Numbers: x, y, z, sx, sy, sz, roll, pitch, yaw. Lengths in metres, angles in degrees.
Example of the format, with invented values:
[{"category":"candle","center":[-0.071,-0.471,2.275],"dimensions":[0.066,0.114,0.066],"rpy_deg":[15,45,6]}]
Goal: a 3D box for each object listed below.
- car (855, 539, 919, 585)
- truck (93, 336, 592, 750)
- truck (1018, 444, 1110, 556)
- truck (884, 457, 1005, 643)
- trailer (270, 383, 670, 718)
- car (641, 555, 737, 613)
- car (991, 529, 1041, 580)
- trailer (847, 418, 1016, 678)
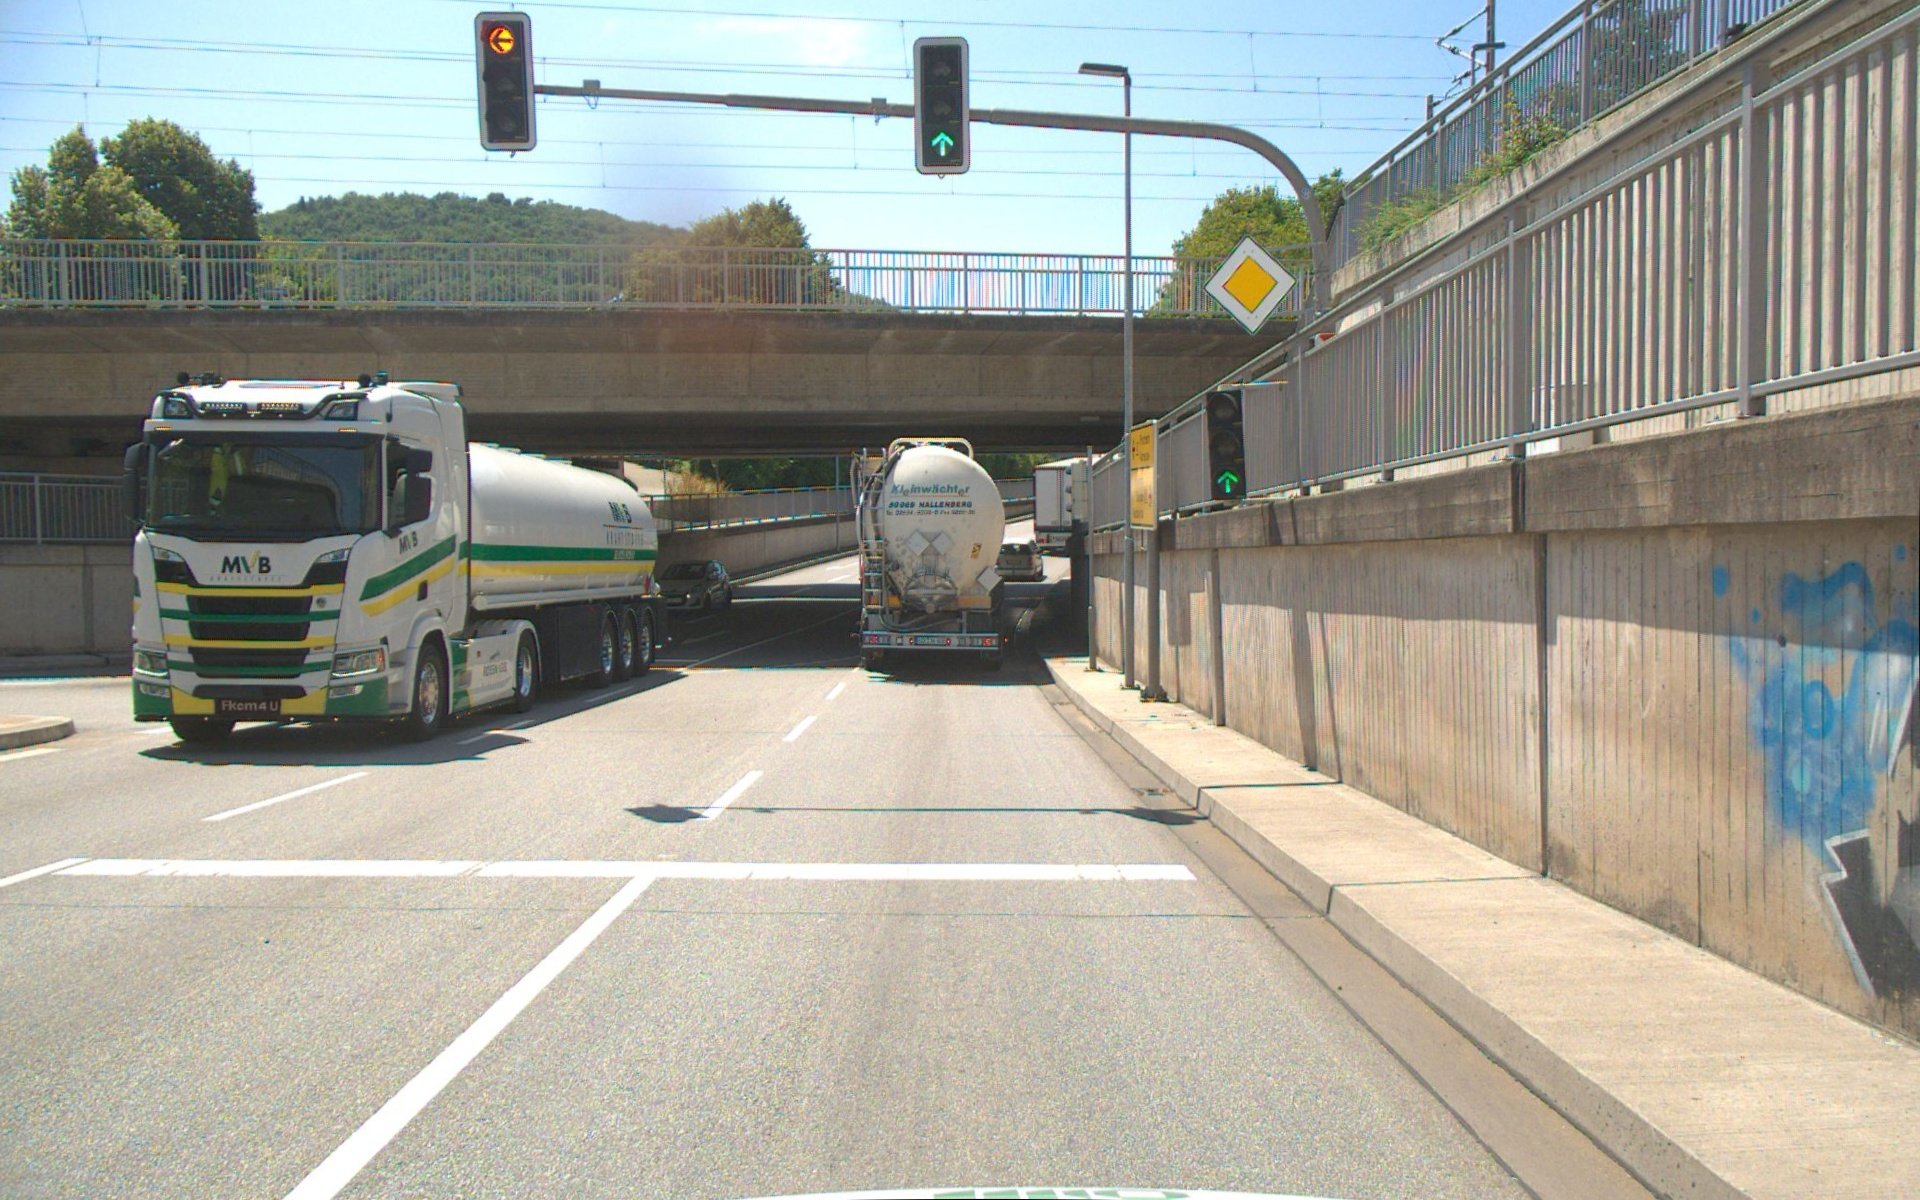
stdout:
[{"category":"car","center":[-2.740,-1.471,62.650],"dimensions":[1.706,1.489,3.830],"rpy_deg":[2,4,8]},{"category":"truck","center":[-6.421,-0.564,18.675],"dimensions":[2.633,3.727,7.371],"rpy_deg":[1,1,2]},{"category":"truck","center":[5.199,-4.949,80.593],"dimensions":[3.015,5.084,10.097],"rpy_deg":[1,4,12]},{"category":"truck","center":[-0.313,-1.197,40.087],"dimensions":[2.679,4.135,6.530],"rpy_deg":[0,1,0]},{"category":"trailer","center":[-6.360,-0.611,23.482],"dimensions":[2.634,3.727,9.890],"rpy_deg":[1,1,0]},{"category":"car","center":[-7.914,-0.504,48.657],"dimensions":[1.742,1.492,3.837],"rpy_deg":[-2,3,7]},{"category":"car","center":[2.205,-1.797,64.460],"dimensions":[1.843,1.667,4.005],"rpy_deg":[0,6,3]},{"category":"trailer","center":[-0.391,-1.005,33.096],"dimensions":[2.679,4.135,13.315],"rpy_deg":[0,1,0]}]
